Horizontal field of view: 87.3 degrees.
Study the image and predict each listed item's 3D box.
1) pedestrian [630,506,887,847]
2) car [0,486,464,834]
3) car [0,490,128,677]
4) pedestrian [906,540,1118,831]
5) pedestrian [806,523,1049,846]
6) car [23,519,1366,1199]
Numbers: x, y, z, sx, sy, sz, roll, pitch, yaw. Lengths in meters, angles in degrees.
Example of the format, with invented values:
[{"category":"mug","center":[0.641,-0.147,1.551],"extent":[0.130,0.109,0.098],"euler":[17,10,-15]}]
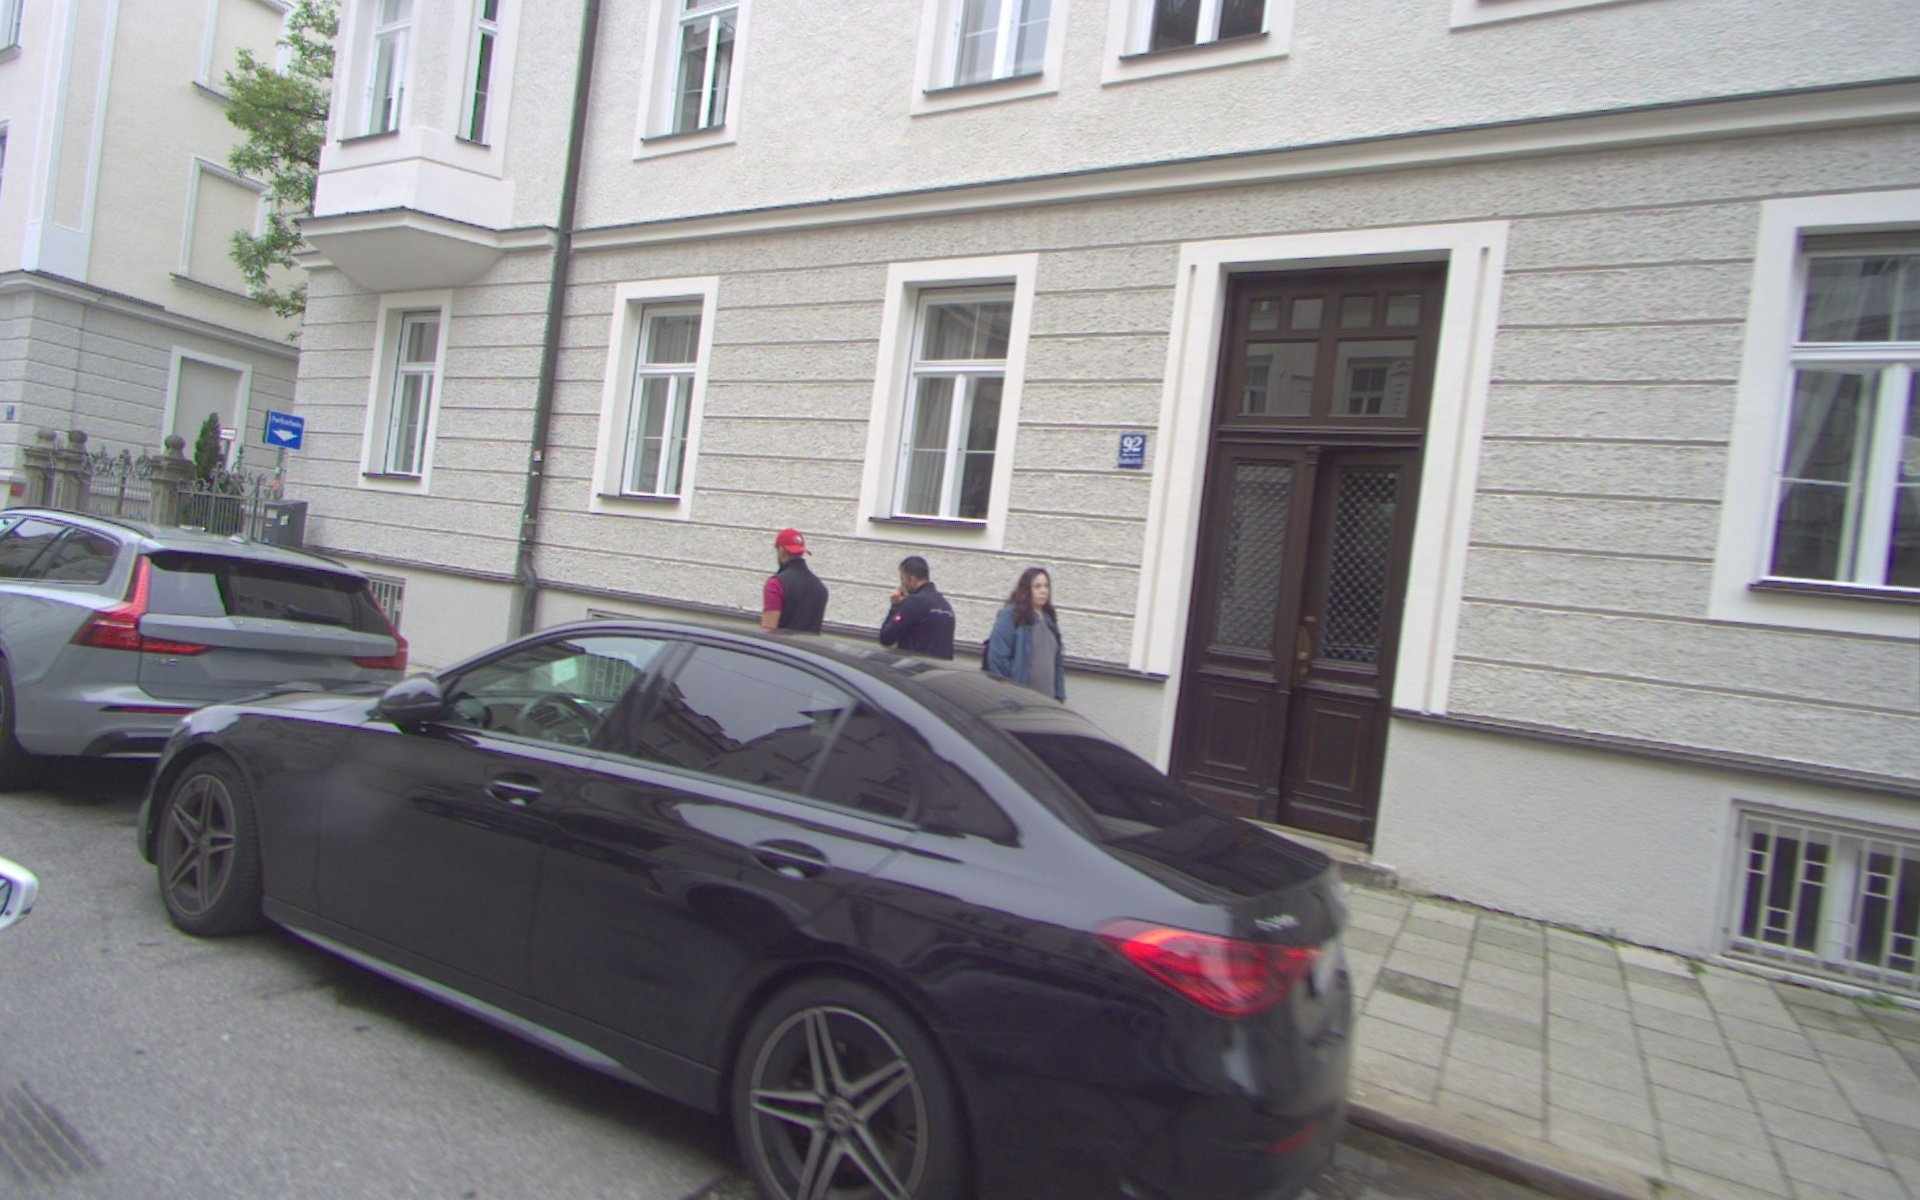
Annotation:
[{"category":"pedestrian","center":[-1.241,0.423,6.223],"extent":[1.092,1.836,0.883],"euler":[8,3,31]},{"category":"car","center":[-5.376,0.158,6.386],"extent":[4.346,1.502,1.765],"euler":[8,-2,31]},{"category":"car","center":[-9.823,-0.385,8.999],"extent":[4.631,1.475,1.997],"euler":[7,0,28]},{"category":"pedestrian","center":[0.377,0.553,7.248],"extent":[1.092,1.839,0.882],"euler":[8,5,31]},{"category":"pedestrian","center":[-0.205,0.490,6.485],"extent":[1.092,1.810,0.883],"euler":[8,3,31]},{"category":"car","center":[-1.204,0.755,3.875],"extent":[4.886,1.415,1.842],"euler":[8,-1,27]}]
